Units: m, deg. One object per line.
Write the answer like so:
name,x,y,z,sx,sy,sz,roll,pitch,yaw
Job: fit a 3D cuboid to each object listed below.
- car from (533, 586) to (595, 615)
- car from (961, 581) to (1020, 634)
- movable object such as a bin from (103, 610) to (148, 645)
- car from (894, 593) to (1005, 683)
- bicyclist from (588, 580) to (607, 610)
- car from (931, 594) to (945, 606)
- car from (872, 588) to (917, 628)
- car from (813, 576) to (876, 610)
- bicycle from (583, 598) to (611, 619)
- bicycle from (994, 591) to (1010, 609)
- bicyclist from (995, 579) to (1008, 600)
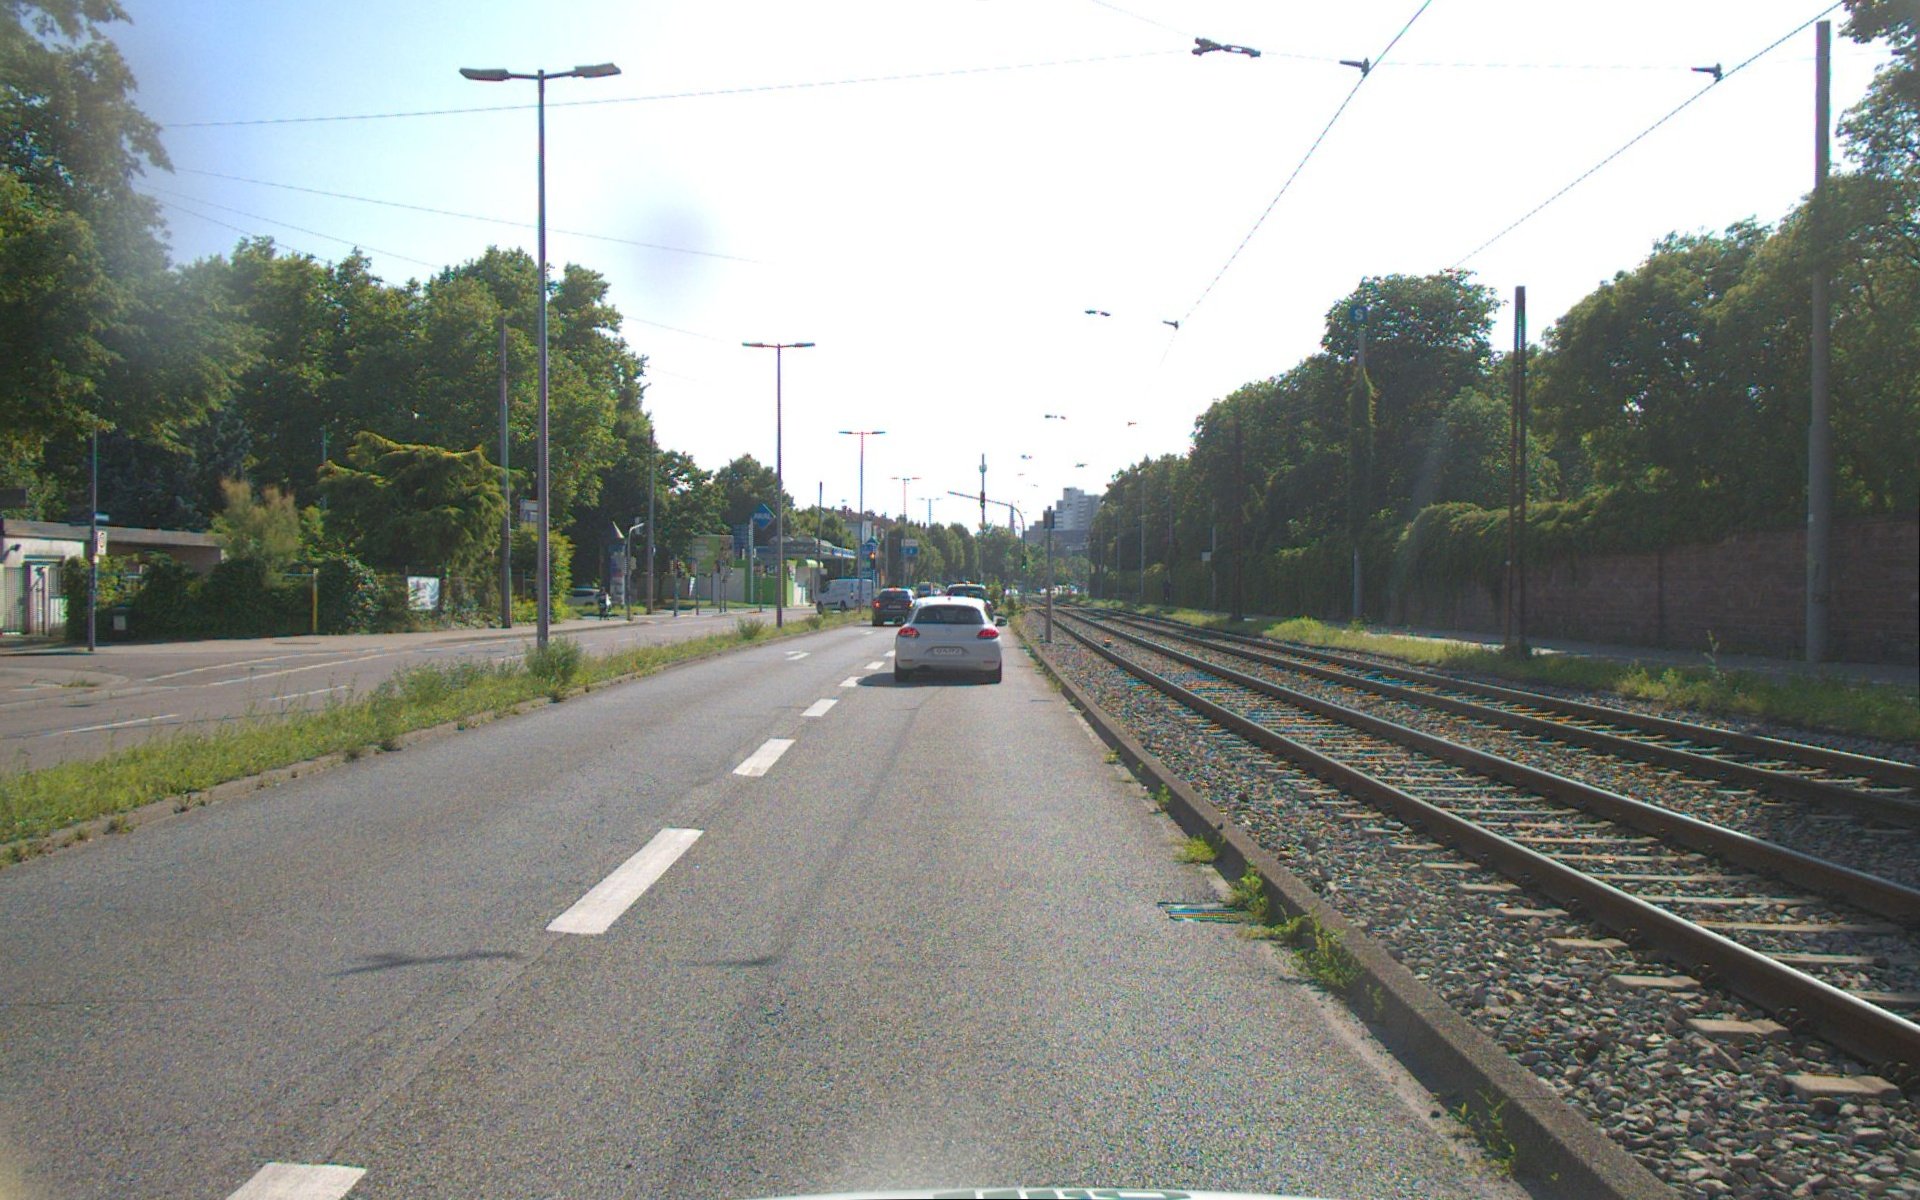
car,-26.024,0.032,108.706,3.869,1.764,1.651,2,0,-12
car,0.958,0.218,54.058,1.689,1.620,3.599,2,0,-2
movable object such as a bin,-23.228,0.751,46.042,0.799,0.947,0.853,0,0,0
car,-0.146,0.604,28.170,1.744,1.380,3.601,2,0,1
bicyclist,-18.288,-0.256,83.351,0.648,1.478,1.051,0,0,5
car,-2.727,0.008,204.942,1.618,1.420,4.135,0,0,1
car,-2.647,0.298,66.776,1.725,1.511,4.643,2,0,-2
car,-6.939,-0.413,98.925,1.802,1.997,4.349,0,0,-35
bicycle,-18.287,0.422,83.272,0.648,1.068,2.582,0,0,5
bicycle,2.855,0.005,112.936,0.629,1.174,1.938,0,0,16
bicyclist,2.847,-0.716,112.897,0.629,1.440,1.013,2,1,16
